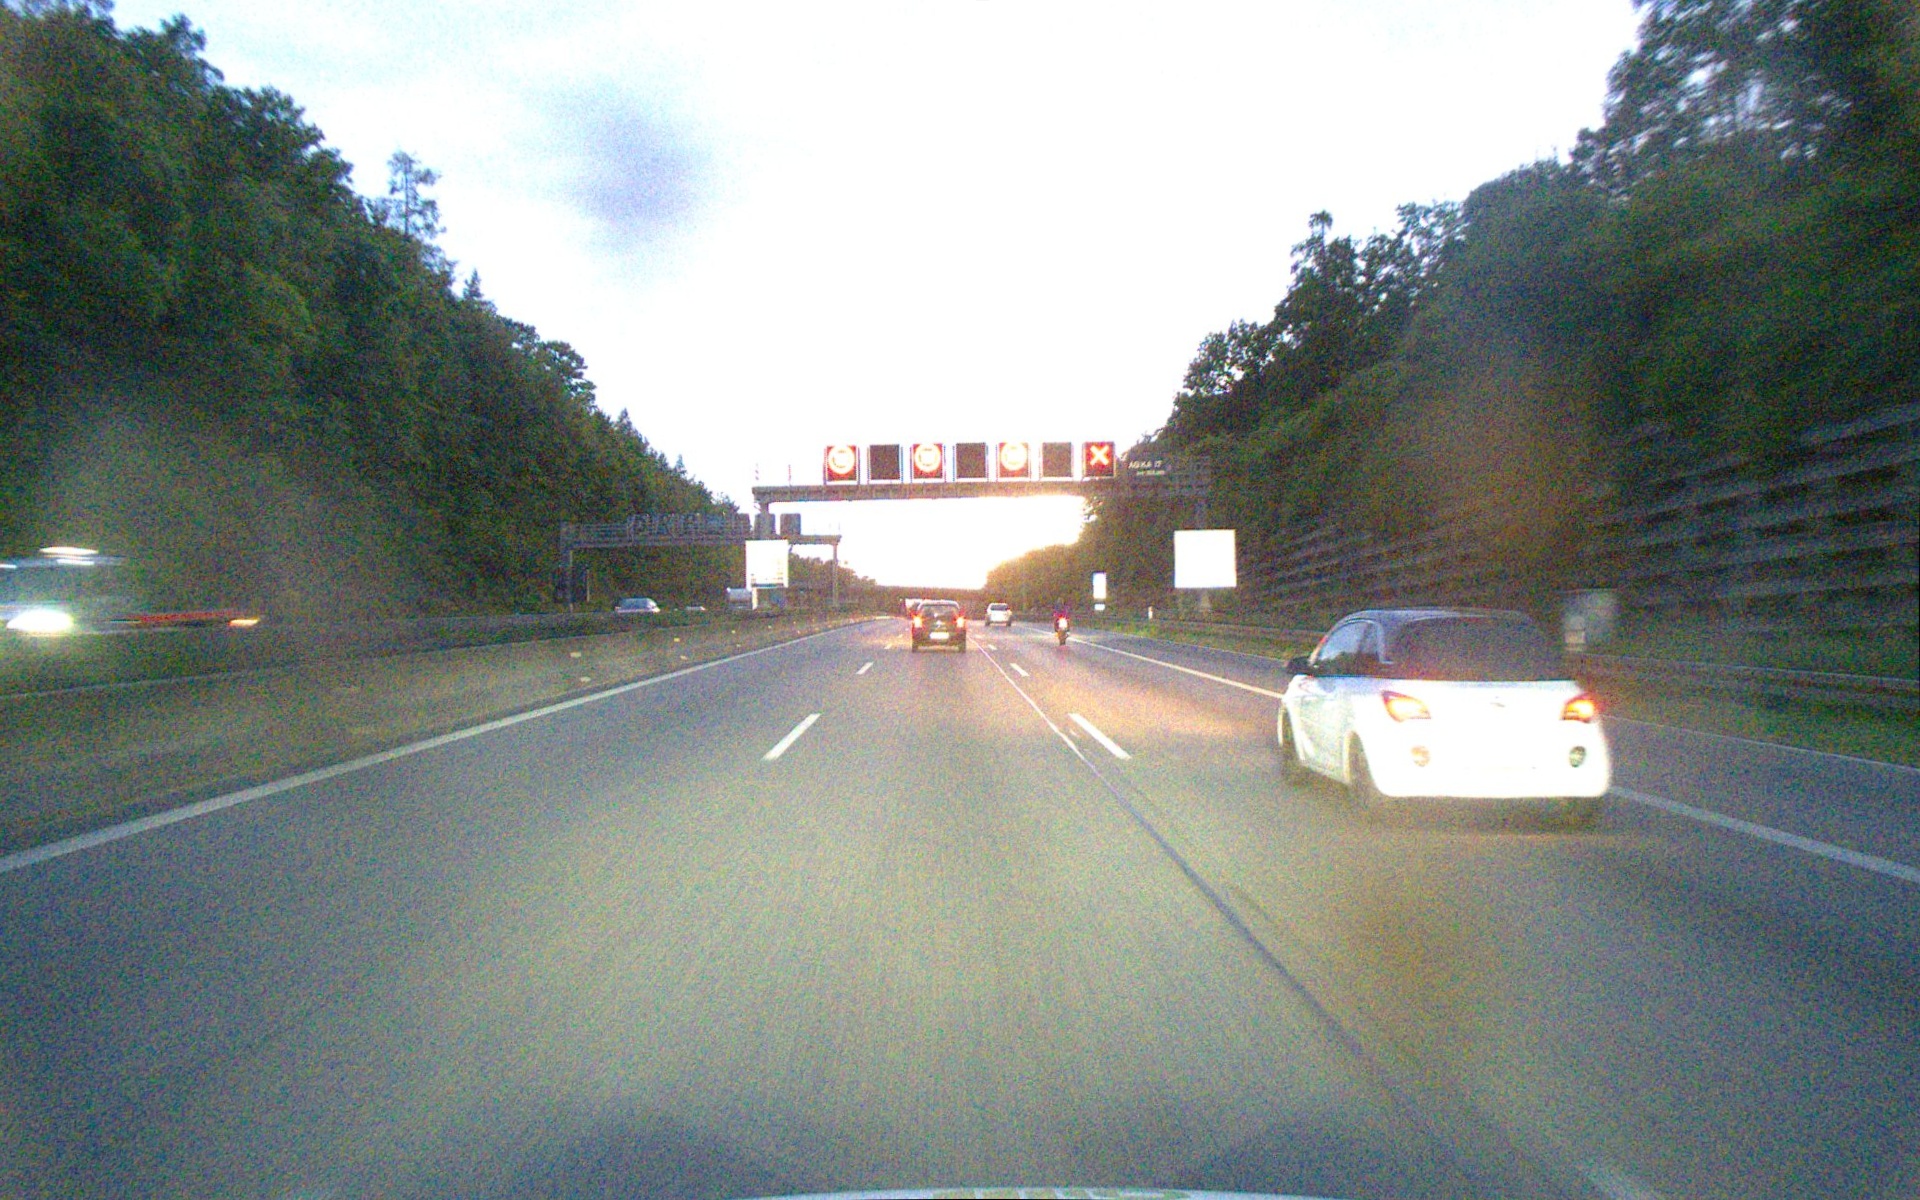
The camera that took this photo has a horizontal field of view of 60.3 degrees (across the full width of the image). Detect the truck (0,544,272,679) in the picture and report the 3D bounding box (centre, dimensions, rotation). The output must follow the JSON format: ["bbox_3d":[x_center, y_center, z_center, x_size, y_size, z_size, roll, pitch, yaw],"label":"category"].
[{"bbox_3d":[-18.418,0.209,36.358,2.410,2.553,9.755,0,0,1],"label":"truck"}]

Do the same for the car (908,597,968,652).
[{"bbox_3d":[-0.652,0.721,49.114,1.669,1.536,4.231,1,-1,-1],"label":"car"}]

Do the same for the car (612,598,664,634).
[{"bbox_3d":[-15.672,0.756,80.714,1.701,1.745,4.713,0,0,-1],"label":"car"}]

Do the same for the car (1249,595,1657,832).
[{"bbox_3d":[3.553,0.743,12.807,1.788,1.501,4.398,1,0,-1],"label":"car"}]

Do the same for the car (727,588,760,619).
[{"bbox_3d":[-20.492,0.346,156.907,1.941,2.931,7.834,-1,0,1],"label":"car"}]

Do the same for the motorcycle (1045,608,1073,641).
[{"bbox_3d":[3.530,0.875,59.127,0.813,1.154,2.475,0,0,-1],"label":"motorcycle"}]

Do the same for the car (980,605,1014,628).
[{"bbox_3d":[2.502,1.124,111.901,1.829,1.520,4.394,1,-1,-5],"label":"car"}]

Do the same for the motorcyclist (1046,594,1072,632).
[{"bbox_3d":[3.527,0.460,59.062,0.813,1.314,1.190,0,0,-1],"label":"motorcyclist"}]
